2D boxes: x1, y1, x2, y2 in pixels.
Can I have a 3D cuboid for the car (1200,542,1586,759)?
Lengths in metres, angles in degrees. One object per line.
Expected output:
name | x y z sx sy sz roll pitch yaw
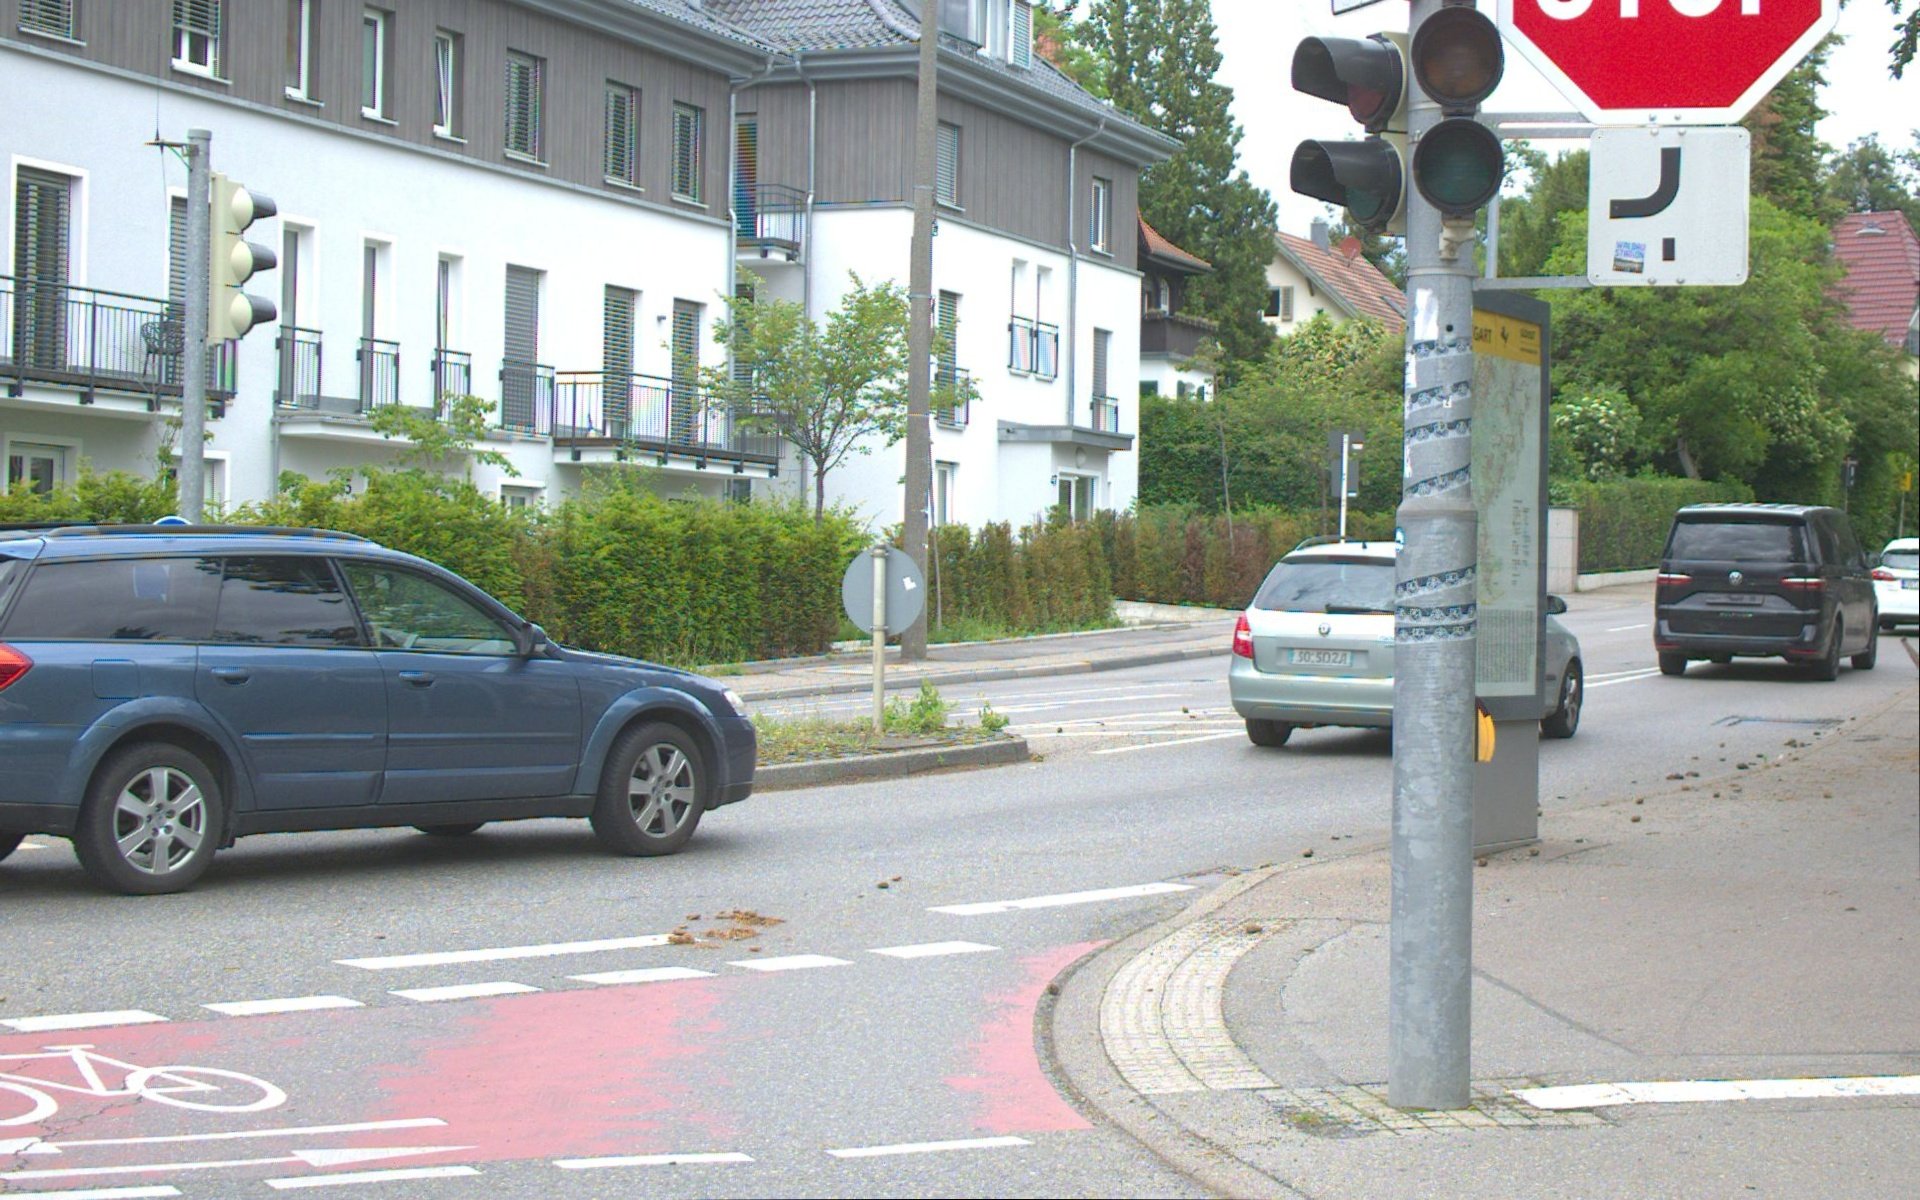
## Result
car | 3.221 0.311 24.974 1.696 1.425 3.743 0 1 25

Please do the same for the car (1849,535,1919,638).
car | 14.721 -0.216 52.030 1.843 1.454 4.073 3 2 23

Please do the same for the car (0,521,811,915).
car | -3.028 0.427 15.376 4.730 1.522 1.804 -2 1 -45

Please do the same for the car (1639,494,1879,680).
car | 9.045 -0.189 38.610 1.921 1.887 4.903 3 2 21
